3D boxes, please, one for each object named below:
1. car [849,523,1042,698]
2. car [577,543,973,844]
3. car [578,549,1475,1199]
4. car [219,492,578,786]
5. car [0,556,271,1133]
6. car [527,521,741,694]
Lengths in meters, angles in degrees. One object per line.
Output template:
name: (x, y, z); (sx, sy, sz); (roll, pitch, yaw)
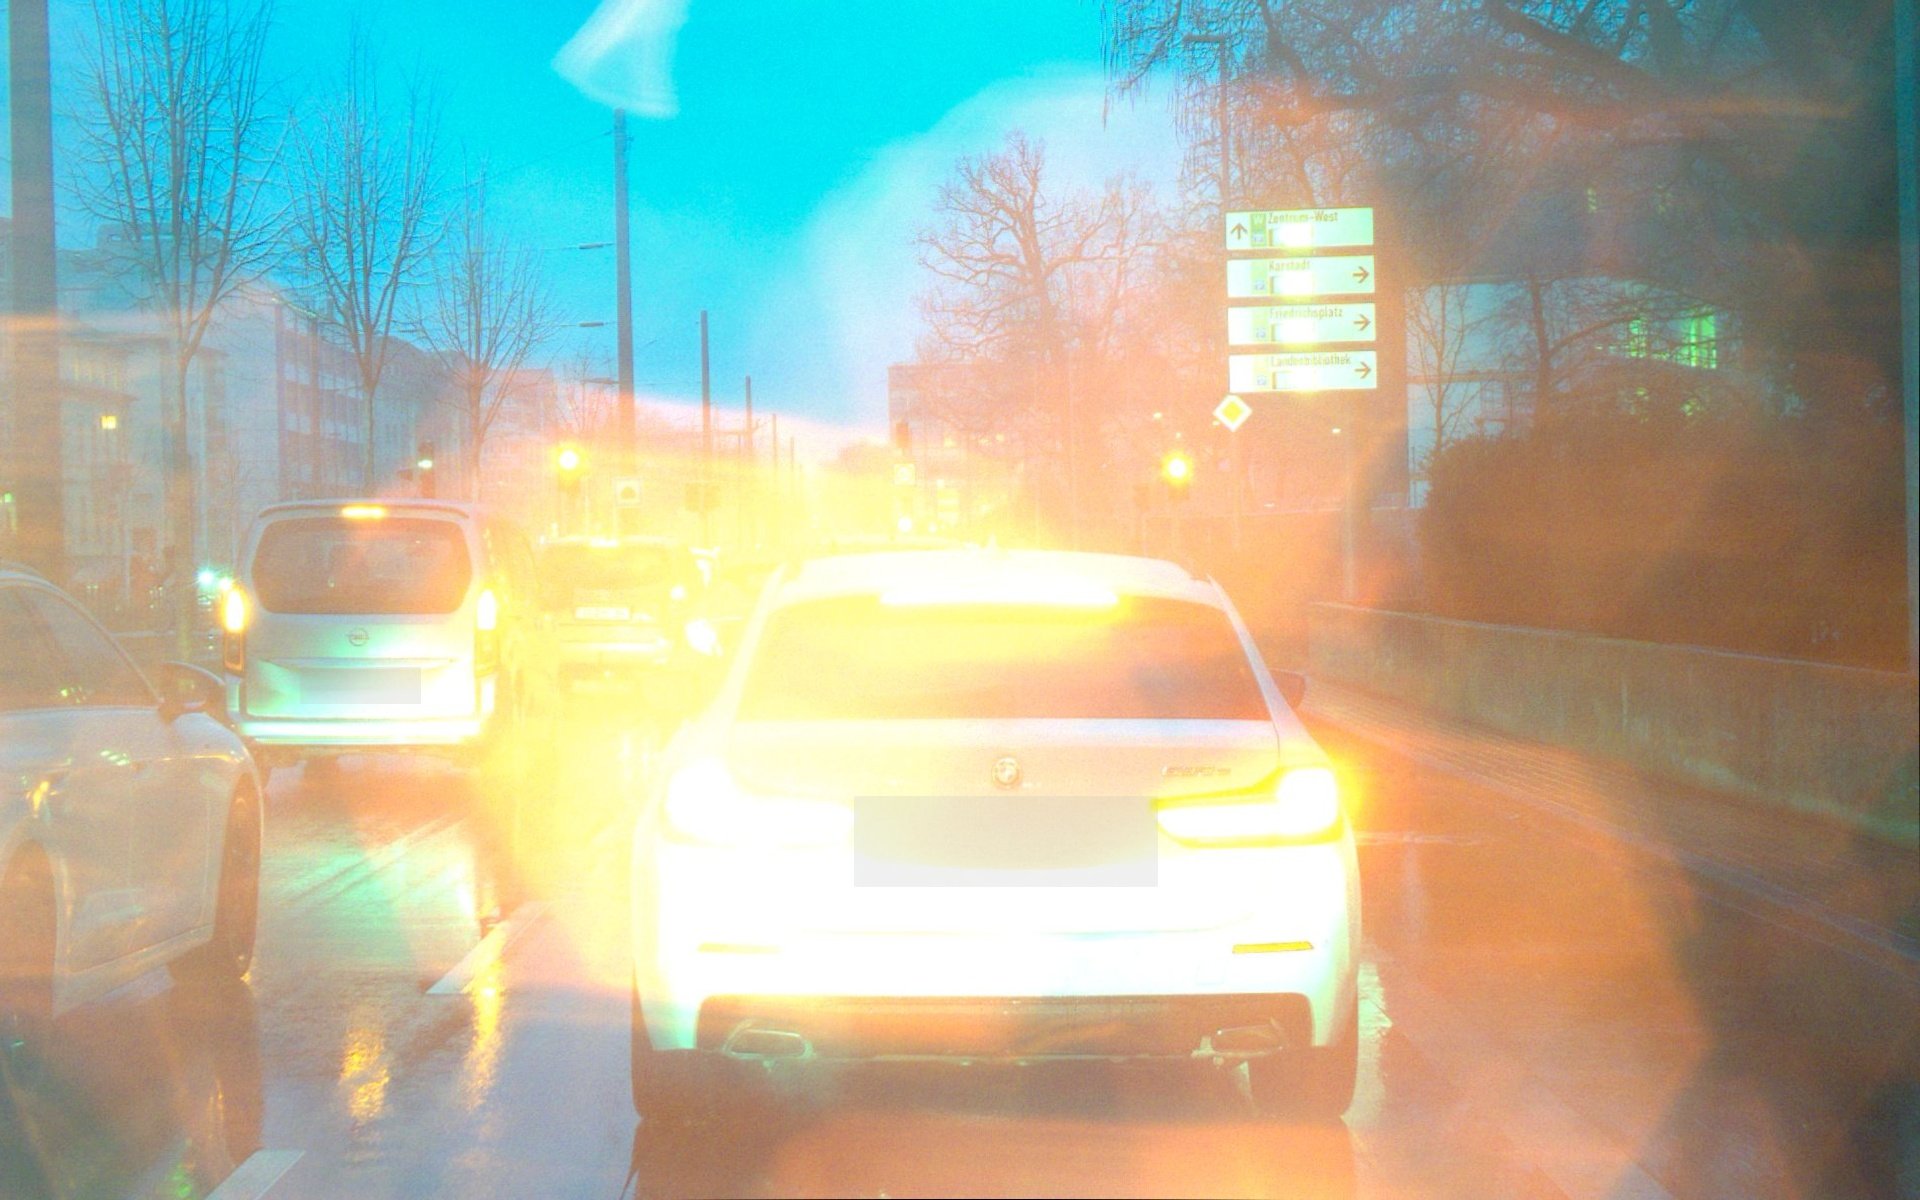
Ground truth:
car: (-0.159, 0.058, 34.173); (1.806, 1.640, 4.000); (0, 1, -1)
car: (-0.934, 0.425, 18.951); (1.936, 1.452, 4.164); (0, 1, -1)
car: (0.125, 0.621, 9.761); (1.999, 1.503, 4.164); (0, 1, -1)
car: (-3.559, 0.202, 22.525); (1.793, 1.730, 4.538); (0, 1, -2)
car: (-3.303, 0.572, 9.898); (1.846, 1.400, 4.614); (0, 1, -2)
car: (-3.213, 0.030, 34.552); (1.806, 1.640, 4.000); (0, 1, -1)
